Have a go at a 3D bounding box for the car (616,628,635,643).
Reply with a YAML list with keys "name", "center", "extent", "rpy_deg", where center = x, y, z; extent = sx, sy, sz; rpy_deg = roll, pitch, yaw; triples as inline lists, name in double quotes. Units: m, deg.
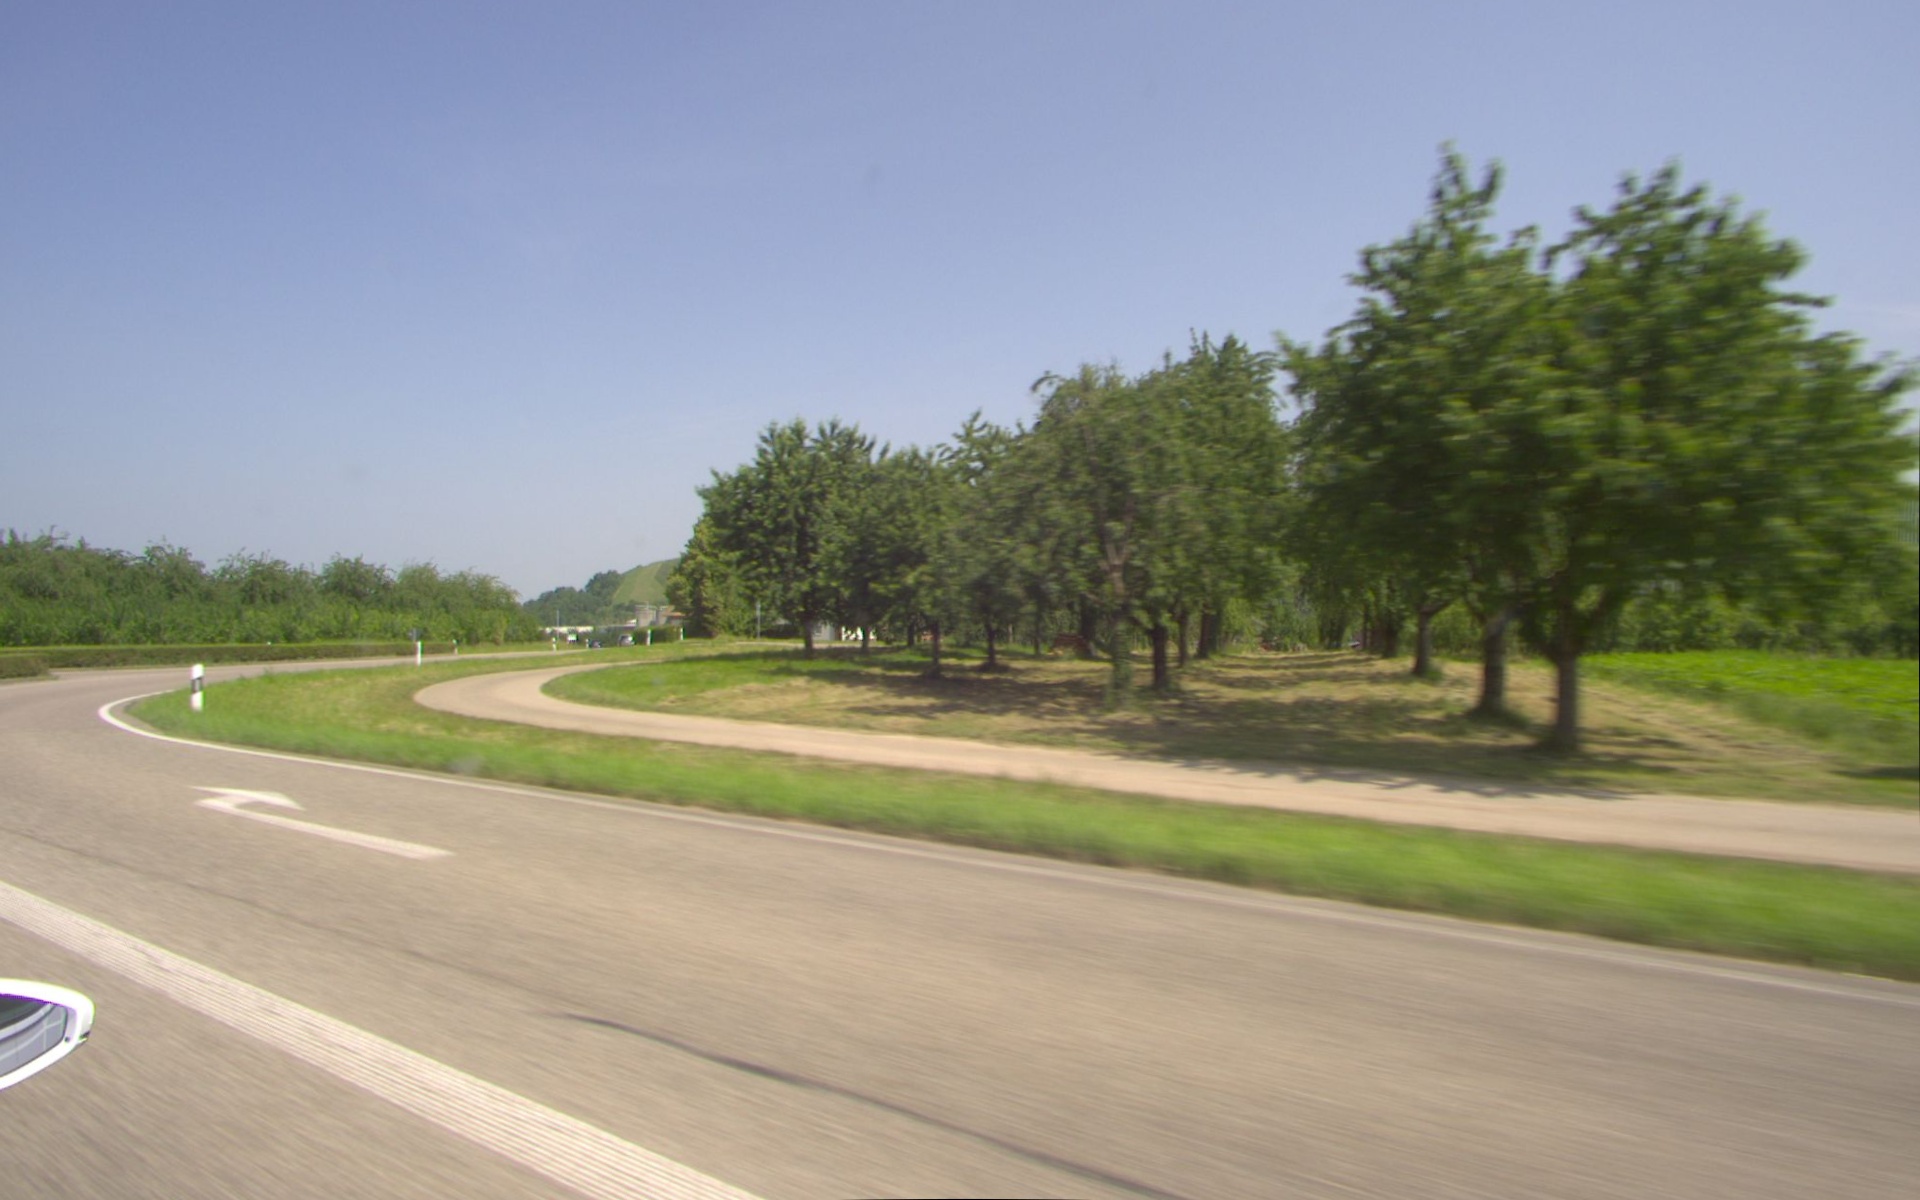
- name: "car"
  center: [-40.576, 4.261, 121.407]
  extent: [1.763, 1.705, 3.985]
  rpy_deg: [1, -1, -26]
